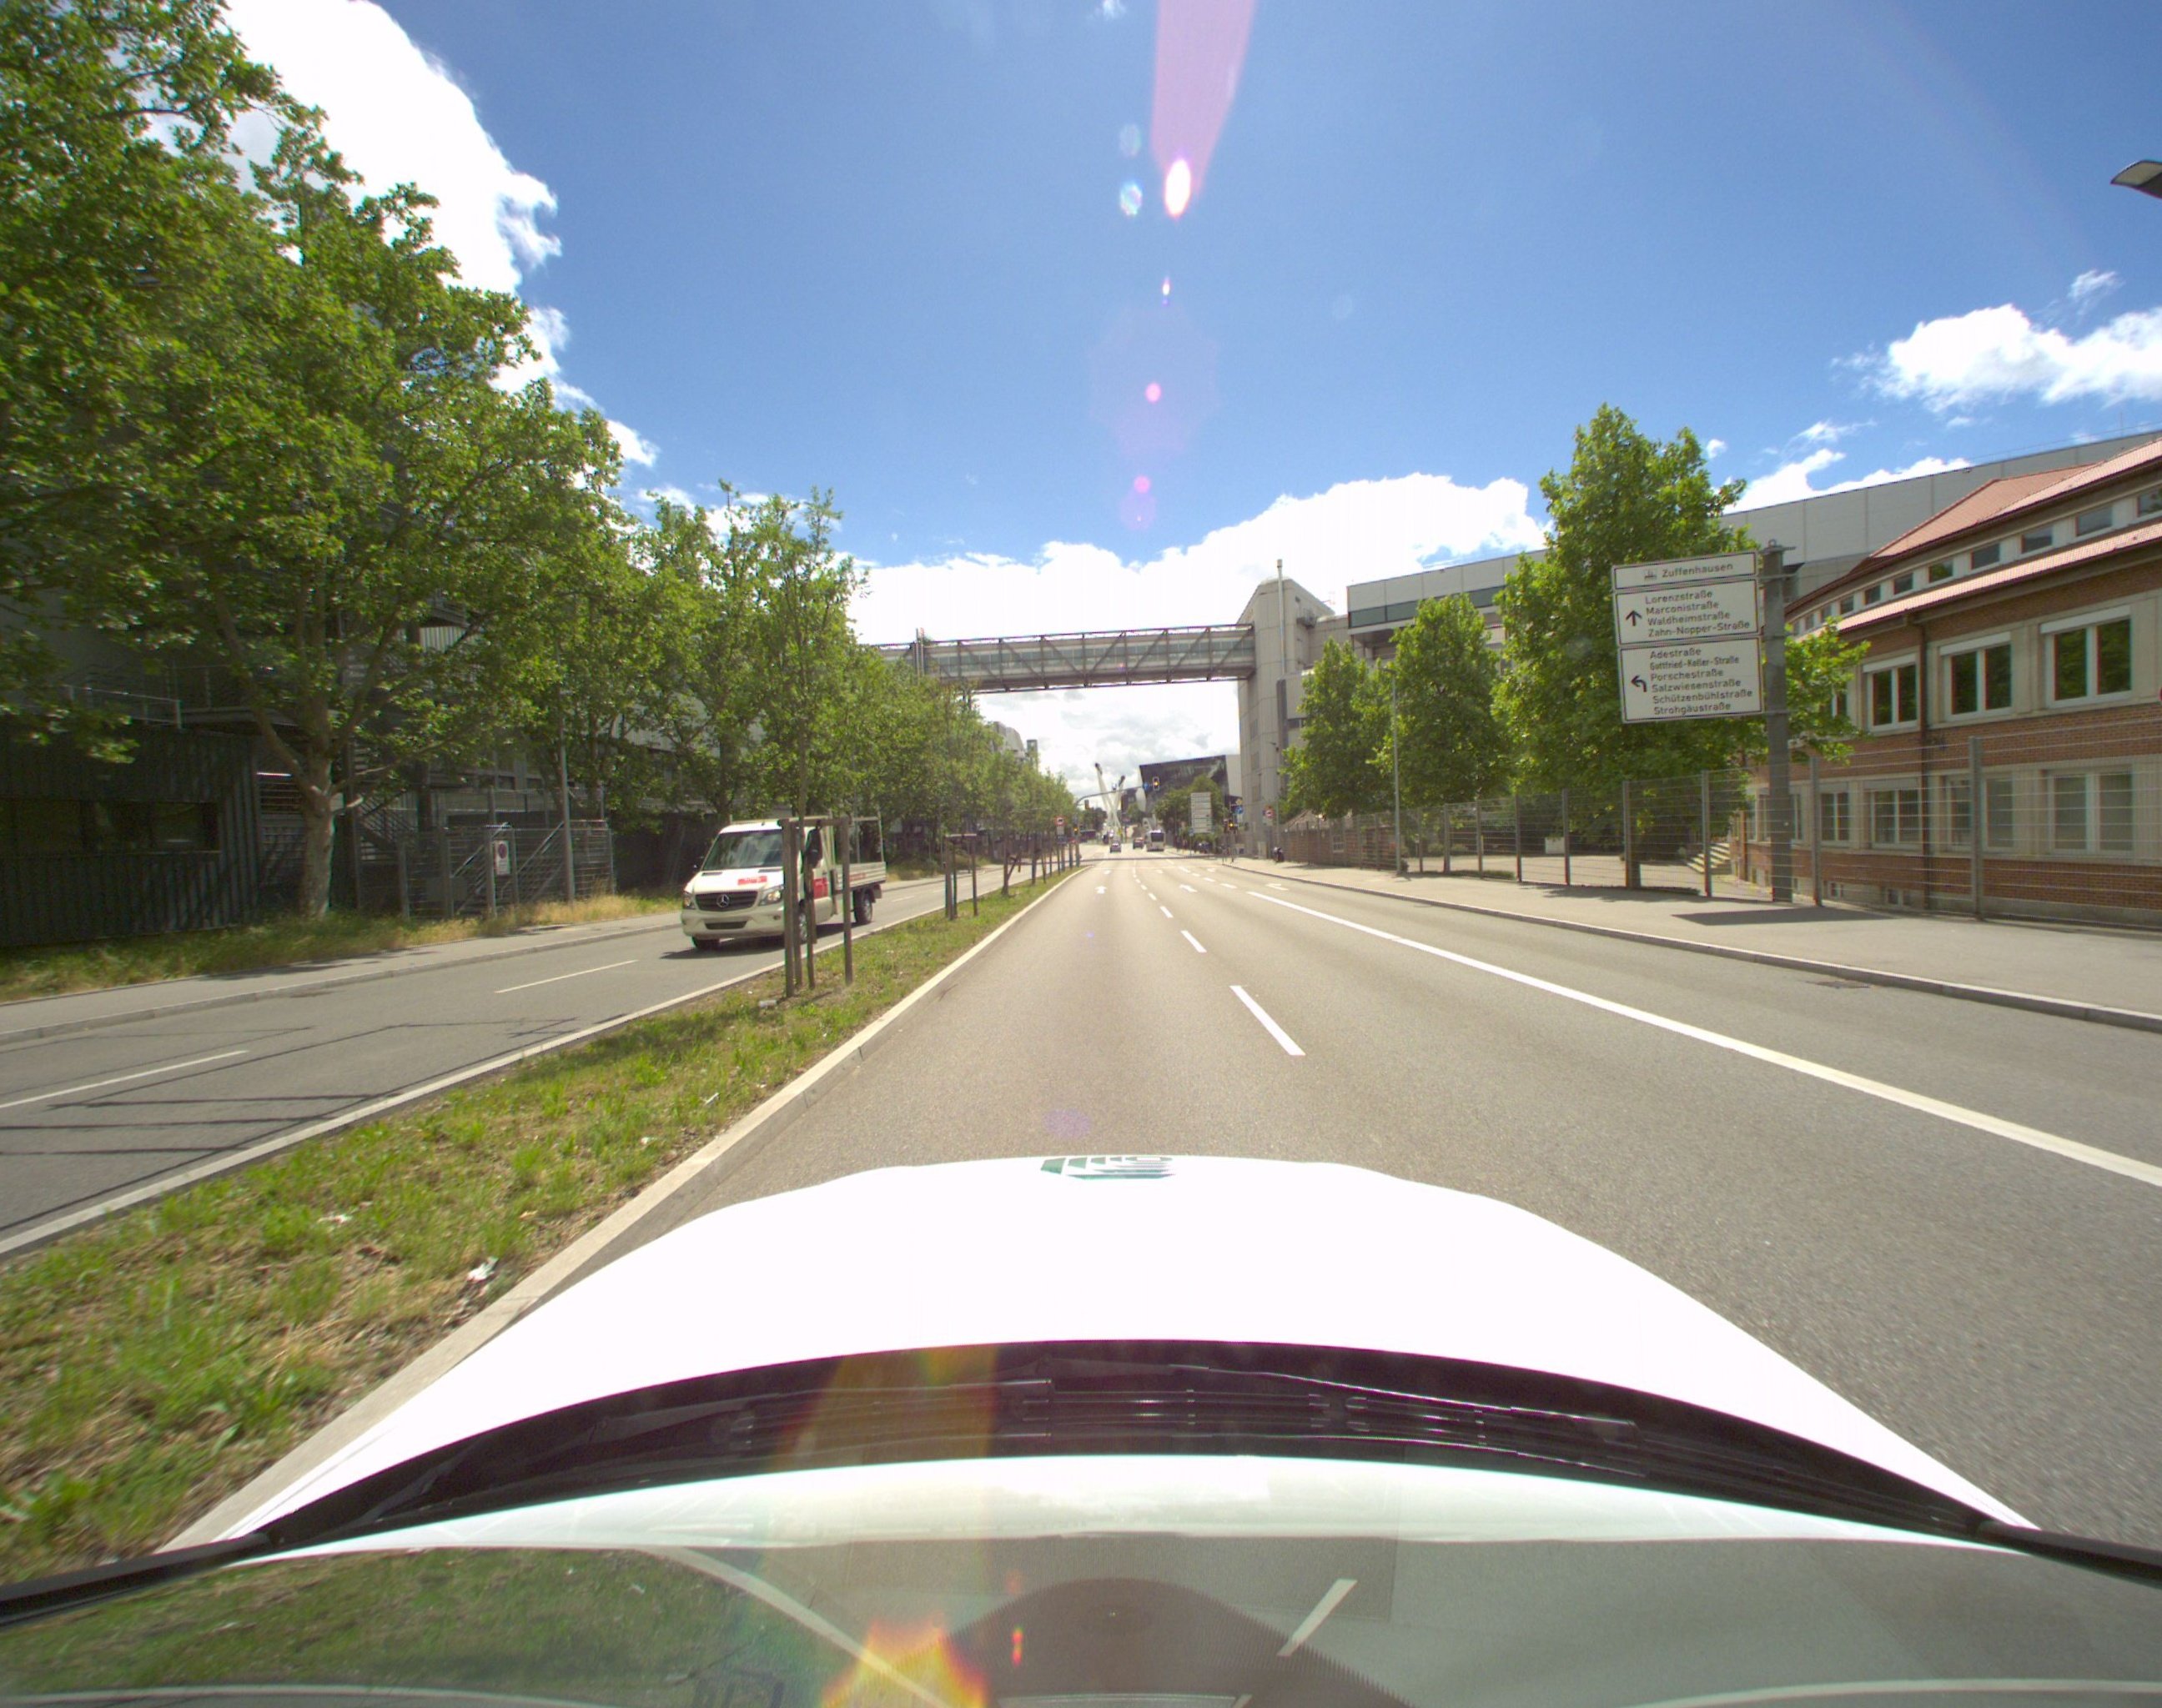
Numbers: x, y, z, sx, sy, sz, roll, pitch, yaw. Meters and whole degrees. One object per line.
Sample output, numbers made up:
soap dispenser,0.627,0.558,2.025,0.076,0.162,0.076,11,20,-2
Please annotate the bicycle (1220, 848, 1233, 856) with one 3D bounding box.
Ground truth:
bicycle,16.498,-0.215,92.306,0.399,0.937,1.914,-1,0,-22

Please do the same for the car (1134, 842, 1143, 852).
car,11.057,-1.339,156.347,1.731,1.741,3.694,-1,0,3

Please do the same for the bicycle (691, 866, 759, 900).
bicycle,-13.314,1.075,30.504,2.127,1.180,0.806,-2,0,0

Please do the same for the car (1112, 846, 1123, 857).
car,5.997,-0.387,132.975,1.731,1.741,3.694,-1,0,3

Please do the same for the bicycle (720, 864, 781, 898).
bicycle,-13.605,1.102,33.581,2.127,1.282,0.806,-2,0,0

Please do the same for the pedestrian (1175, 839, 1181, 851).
pedestrian,14.471,-1.311,121.667,0.817,1.707,0.882,-1,0,3

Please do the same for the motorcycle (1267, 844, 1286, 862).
motorcycle,13.051,-0.065,54.442,0.691,1.158,2.146,-3,0,-2

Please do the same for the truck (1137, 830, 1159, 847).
truck,18.544,-4.232,225.204,3.423,4.391,9.469,-1,0,21

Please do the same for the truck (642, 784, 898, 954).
truck,-5.946,0.232,16.893,2.469,2.751,6.462,-2,0,2

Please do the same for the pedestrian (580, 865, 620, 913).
pedestrian,-16.029,1.157,27.178,0.749,1.551,0.823,-2,0,12

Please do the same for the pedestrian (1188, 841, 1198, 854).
pedestrian,14.536,-0.868,105.687,0.839,1.624,0.962,-1,0,44

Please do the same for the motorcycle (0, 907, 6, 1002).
motorcycle,-14.371,1.257,9.932,1.865,1.173,0.748,0,1,11

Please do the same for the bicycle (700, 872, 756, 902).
bicycle,-13.540,1.250,31.259,1.917,1.074,0.422,-2,0,0

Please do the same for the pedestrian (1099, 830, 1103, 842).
pedestrian,6.283,-5.581,256.407,1.410,3.600,1.284,-2,0,2

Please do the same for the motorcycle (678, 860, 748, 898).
motorcycle,-13.271,0.889,29.433,2.127,1.309,0.806,-2,0,0

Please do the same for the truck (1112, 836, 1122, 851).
truck,9.231,-2.699,208.639,2.382,3.897,6.182,-1,0,3

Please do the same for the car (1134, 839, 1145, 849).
car,13.166,-2.287,183.773,1.988,2.014,3.997,-1,-1,-2

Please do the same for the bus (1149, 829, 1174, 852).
bus,13.360,-2.245,136.628,3.439,3.543,10.612,-1,0,2

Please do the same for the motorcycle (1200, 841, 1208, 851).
motorcycle,14.835,-0.960,98.599,0.703,1.203,2.026,-4,1,3

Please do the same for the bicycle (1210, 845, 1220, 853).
bicycle,15.600,-0.618,94.641,0.398,0.937,1.918,-1,0,-16
